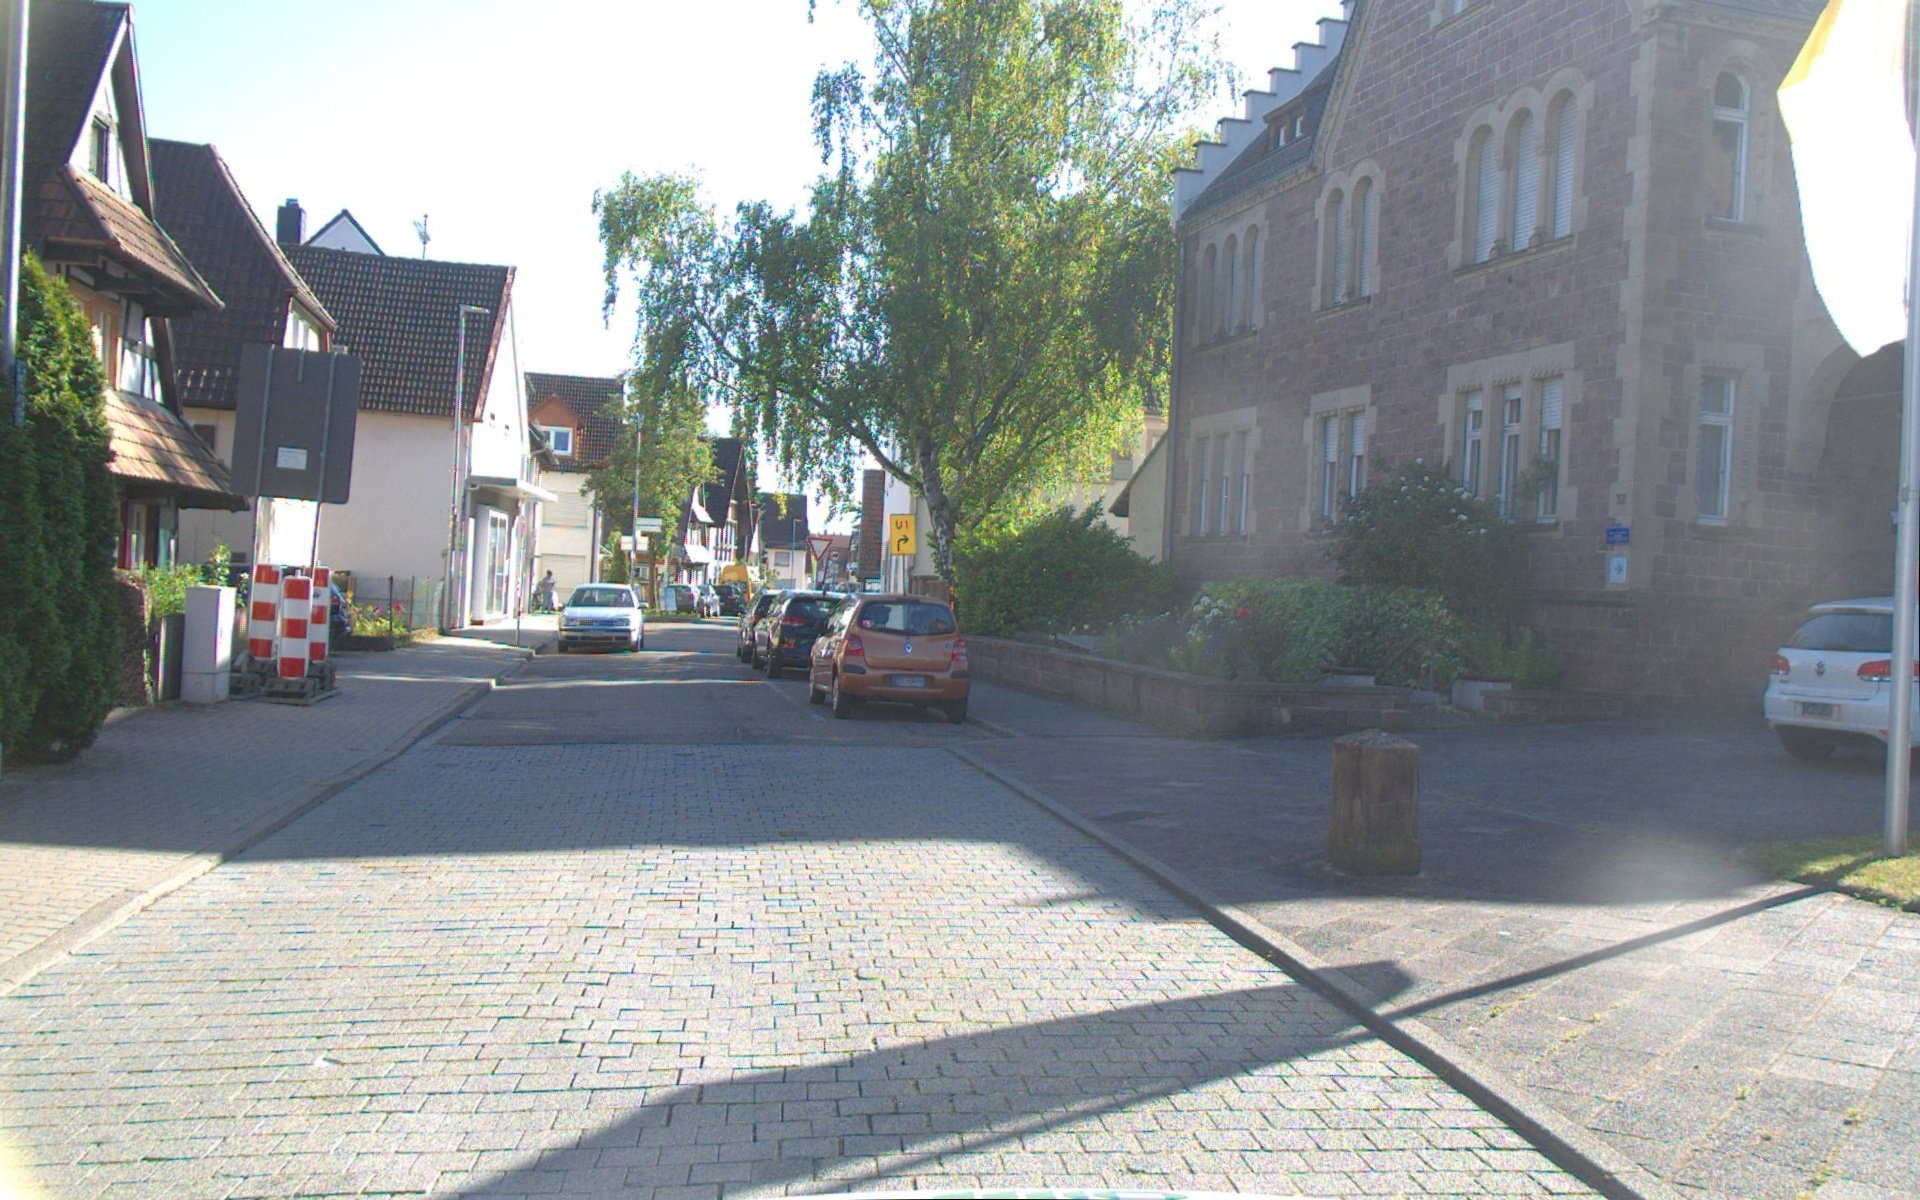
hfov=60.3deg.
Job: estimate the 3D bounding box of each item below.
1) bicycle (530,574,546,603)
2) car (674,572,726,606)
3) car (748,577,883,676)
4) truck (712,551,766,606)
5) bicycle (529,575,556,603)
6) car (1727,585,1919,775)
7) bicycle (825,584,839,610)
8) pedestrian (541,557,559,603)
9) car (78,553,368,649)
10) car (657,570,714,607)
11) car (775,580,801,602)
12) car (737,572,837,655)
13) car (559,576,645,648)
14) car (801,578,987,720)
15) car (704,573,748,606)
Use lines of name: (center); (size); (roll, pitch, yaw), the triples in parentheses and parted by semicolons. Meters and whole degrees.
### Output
bicycle: (-16.118, -0.431, 63.166); (0.415, 1.071, 1.378); (2, -1, -8)
car: (-12.578, -0.520, 80.237); (1.770, 1.532, 4.107); (3, 0, 0)
car: (-2.619, 0.412, 29.085); (1.776, 1.461, 4.273); (3, 1, -12)
truck: (-12.601, -1.168, 94.647); (2.222, 2.918, 5.782); (3, 0, 0)
bicycle: (-16.780, -0.450, 66.511); (0.566, 1.071, 2.035); (2, -1, -2)
car: (9.199, 0.624, 14.984); (3.838, 1.522, 1.895); (-1, 0, -18)
bicycle: (-6.027, -0.143, 77.967); (0.424, 1.197, 1.829); (2, 0, 2)
pedestrian: (-15.720, -0.767, 63.393); (0.474, 1.722, 0.556); (3, -2, -5)
car: (-11.984, -0.001, 27.183); (4.090, 1.487, 1.841); (0, 1, -16)
car: (-12.555, -0.501, 75.845); (1.829, 1.532, 4.107); (3, 0, 0)
car: (-12.134, -0.647, 117.063); (1.556, 1.468, 3.612); (3, 0, -3)
car: (-3.587, 0.226, 33.701); (1.774, 1.461, 4.278); (3, 1, -9)
car: (-7.741, 0.231, 36.012); (1.640, 1.427, 3.883); (1, 1, -10)
car: (-0.927, 0.540, 20.821); (1.619, 1.504, 3.922); (3, 1, -12)
car: (-12.607, -0.568, 89.172); (1.770, 1.650, 3.880); (3, 0, 0)
